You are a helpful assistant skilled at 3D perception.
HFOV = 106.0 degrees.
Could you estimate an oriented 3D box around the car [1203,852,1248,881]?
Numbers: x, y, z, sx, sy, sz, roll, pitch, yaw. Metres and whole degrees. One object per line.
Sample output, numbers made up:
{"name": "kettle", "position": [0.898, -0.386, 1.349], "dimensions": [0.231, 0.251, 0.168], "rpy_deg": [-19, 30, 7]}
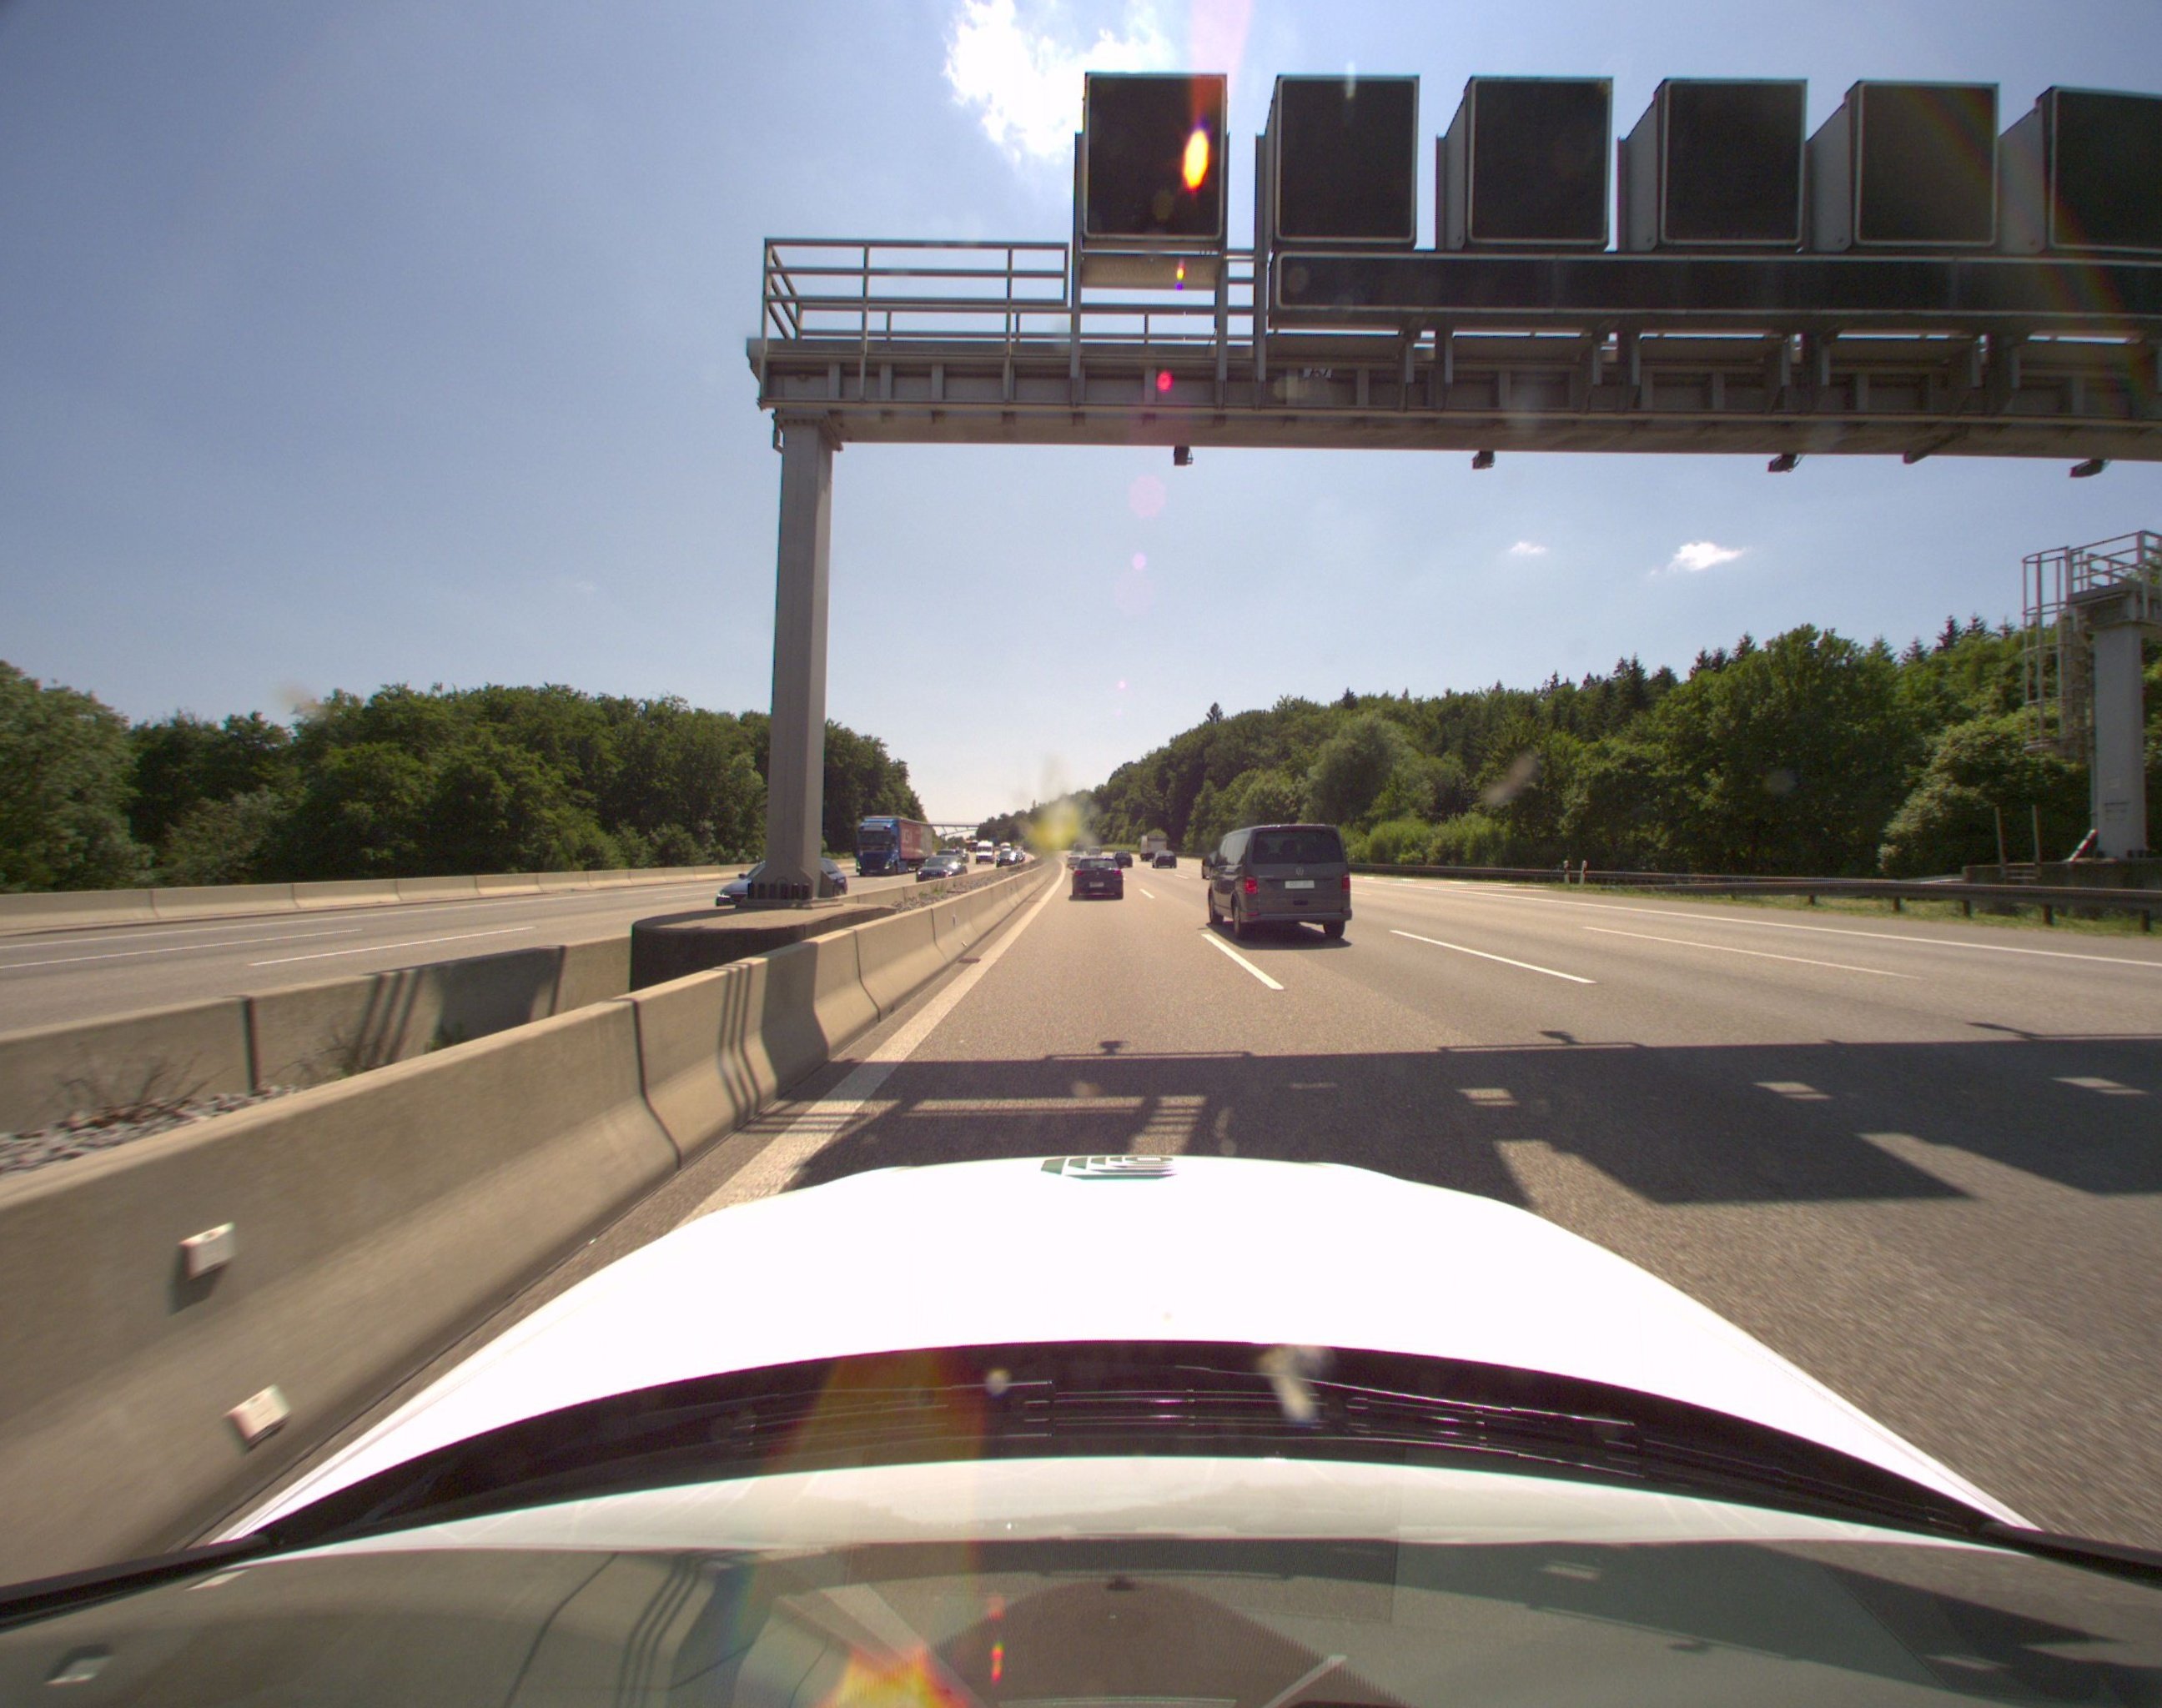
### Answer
{"name": "car", "position": [7.587, 0.622, 43.043], "dimensions": [1.696, 1.396, 4.155], "rpy_deg": [1, 0, 1]}

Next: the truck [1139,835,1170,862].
{"name": "truck", "position": [9.099, -0.680, 101.585], "dimensions": [2.977, 3.166, 7.570], "rpy_deg": [0, 1, -2]}

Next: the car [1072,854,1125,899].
{"name": "car", "position": [0.638, 0.710, 28.009], "dimensions": [1.701, 1.433, 4.002], "rpy_deg": [0, 0, 2]}

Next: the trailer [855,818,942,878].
{"name": "trailer", "position": [-14.292, -0.420, 65.623], "dimensions": [3.824, 4.280, 14.471], "rpy_deg": [1, 0, 0]}

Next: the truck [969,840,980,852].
{"name": "truck", "position": [-31.599, -2.217, 242.535], "dimensions": [2.604, 3.465, 9.869], "rpy_deg": [1, 0, -3]}

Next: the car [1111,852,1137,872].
{"name": "car", "position": [3.854, 0.721, 73.291], "dimensions": [1.988, 1.728, 4.146], "rpy_deg": [-1, -1, -2]}

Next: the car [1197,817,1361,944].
{"name": "car", "position": [3.564, 0.428, 15.704], "dimensions": [1.956, 2.033, 5.083], "rpy_deg": [-1, 0, 1]}

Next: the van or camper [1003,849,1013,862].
{"name": "van or camper", "position": [-16.315, 0.336, 182.427], "dimensions": [1.989, 2.799, 7.407], "rpy_deg": [-1, 0, -2]}

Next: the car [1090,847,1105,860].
{"name": "car", "position": [2.370, -0.095, 119.558], "dimensions": [2.097, 1.744, 4.685], "rpy_deg": [0, 1, -1]}

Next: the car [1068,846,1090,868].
{"name": "car", "position": [-0.194, 0.325, 77.181], "dimensions": [2.005, 1.846, 3.999], "rpy_deg": [0, -3, 1]}

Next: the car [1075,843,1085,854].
{"name": "car", "position": [-0.157, -1.328, 191.645], "dimensions": [2.258, 2.371, 4.700], "rpy_deg": [-1, 0, 0]}

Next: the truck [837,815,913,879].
{"name": "truck", "position": [-14.228, -0.462, 56.777], "dimensions": [3.774, 4.177, 5.877], "rpy_deg": [1, 0, -1]}

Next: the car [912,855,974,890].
{"name": "car", "position": [-6.483, 0.824, 38.841], "dimensions": [1.949, 1.518, 5.134], "rpy_deg": [-1, 0, 1]}

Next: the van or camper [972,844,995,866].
{"name": "van or camper", "position": [-11.492, 0.091, 96.590], "dimensions": [2.094, 2.566, 6.397], "rpy_deg": [-1, 0, -1]}

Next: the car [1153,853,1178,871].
{"name": "car", "position": [7.065, 0.678, 68.602], "dimensions": [1.660, 1.408, 4.903], "rpy_deg": [0, 1, 0]}

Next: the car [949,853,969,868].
{"name": "car", "position": [-15.245, 0.827, 101.950], "dimensions": [1.989, 1.762, 5.064], "rpy_deg": [-1, 0, -2]}

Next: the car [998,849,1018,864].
{"name": "car", "position": [-6.787, 0.220, 75.991], "dimensions": [1.636, 1.350, 3.998], "rpy_deg": [1, 0, -1]}

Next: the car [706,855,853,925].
{"name": "car", "position": [-7.282, 0.795, 20.213], "dimensions": [1.847, 1.518, 4.523], "rpy_deg": [-1, 0, 1]}

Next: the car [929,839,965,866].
{"name": "car", "position": [-10.246, -0.082, 62.578], "dimensions": [1.987, 1.967, 4.783], "rpy_deg": [-1, 0, 0]}
